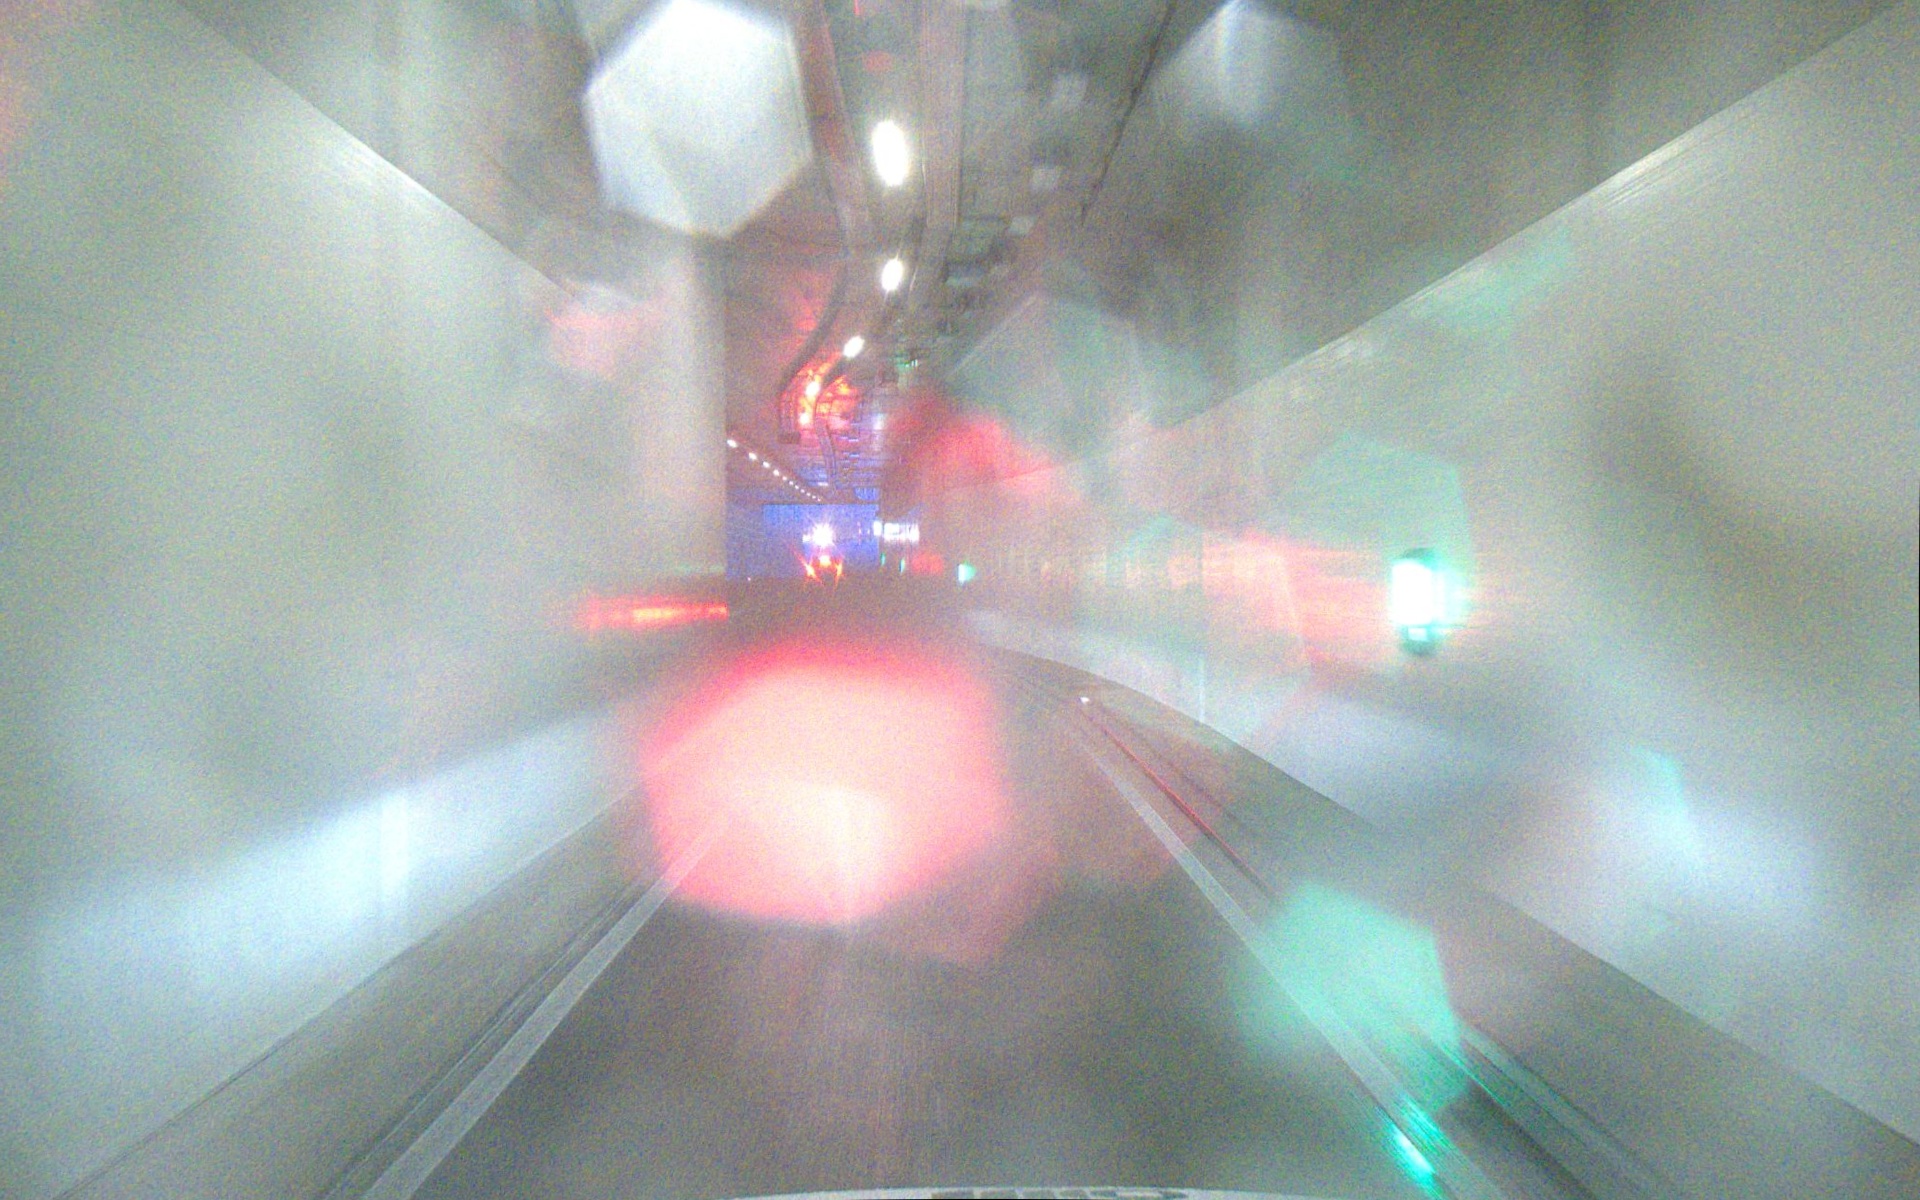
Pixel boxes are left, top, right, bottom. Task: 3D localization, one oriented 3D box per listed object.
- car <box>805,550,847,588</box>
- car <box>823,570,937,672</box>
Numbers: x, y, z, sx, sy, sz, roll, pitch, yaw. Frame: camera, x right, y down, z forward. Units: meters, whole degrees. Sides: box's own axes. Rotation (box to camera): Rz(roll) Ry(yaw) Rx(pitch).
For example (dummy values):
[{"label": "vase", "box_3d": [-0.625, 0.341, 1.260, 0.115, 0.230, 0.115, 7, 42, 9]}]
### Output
[{"label": "car", "box_3d": [-6.329, -1.433, 77.726, 1.844, 1.649, 3.994, 1, 0, -6]}, {"label": "car", "box_3d": [-1.256, 0.269, 24.882, 1.502, 1.421, 3.429, 1, 1, -6]}]
